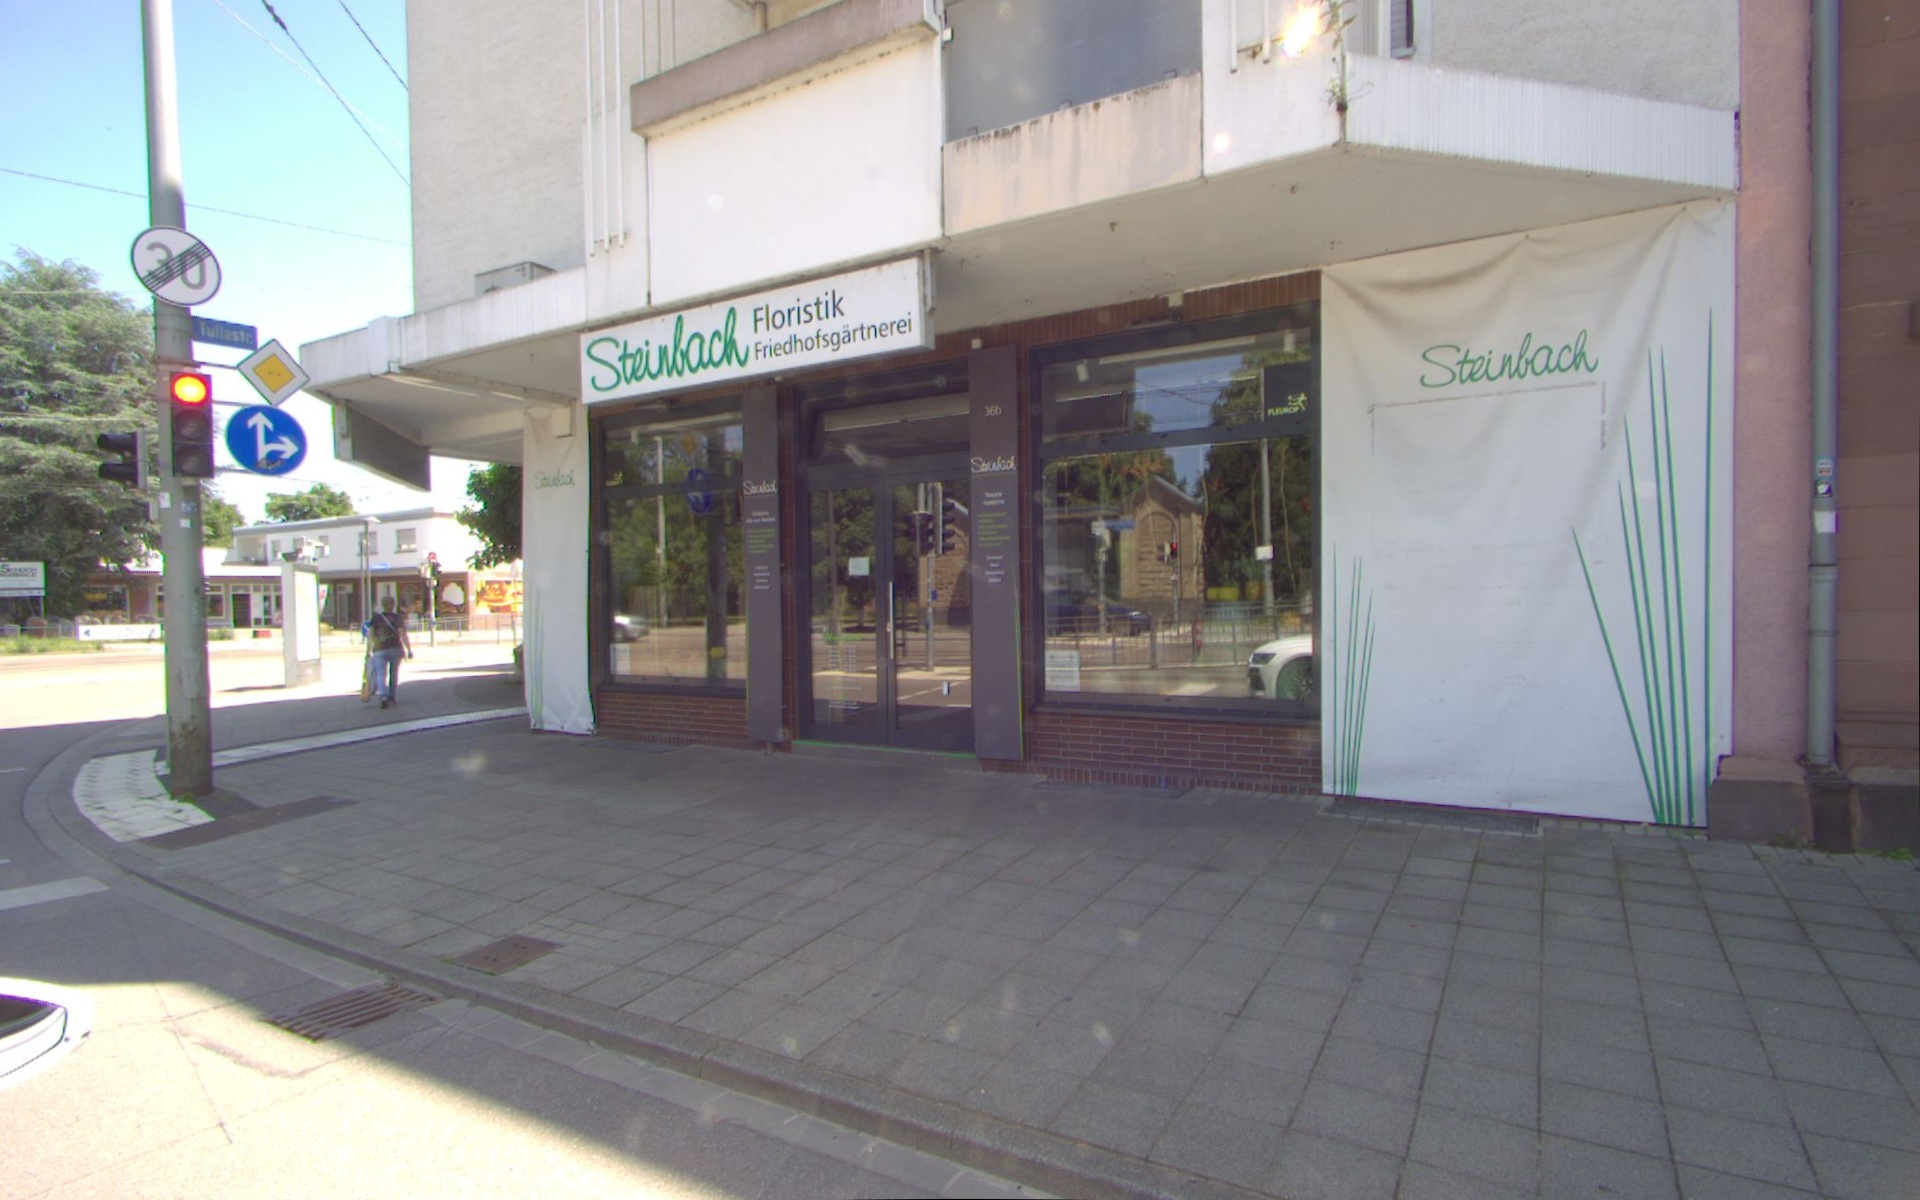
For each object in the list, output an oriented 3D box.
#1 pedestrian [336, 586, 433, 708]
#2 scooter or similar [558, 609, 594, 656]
[{"bbox_3d":[-8.103,0.637,14.105,0.816,1.606,0.822,0,4,38],"label":"pedestrian"},{"bbox_3d":[-10.476,0.876,27.323,0.387,1.229,1.255,-1,0,5],"label":"scooter or similar"}]
